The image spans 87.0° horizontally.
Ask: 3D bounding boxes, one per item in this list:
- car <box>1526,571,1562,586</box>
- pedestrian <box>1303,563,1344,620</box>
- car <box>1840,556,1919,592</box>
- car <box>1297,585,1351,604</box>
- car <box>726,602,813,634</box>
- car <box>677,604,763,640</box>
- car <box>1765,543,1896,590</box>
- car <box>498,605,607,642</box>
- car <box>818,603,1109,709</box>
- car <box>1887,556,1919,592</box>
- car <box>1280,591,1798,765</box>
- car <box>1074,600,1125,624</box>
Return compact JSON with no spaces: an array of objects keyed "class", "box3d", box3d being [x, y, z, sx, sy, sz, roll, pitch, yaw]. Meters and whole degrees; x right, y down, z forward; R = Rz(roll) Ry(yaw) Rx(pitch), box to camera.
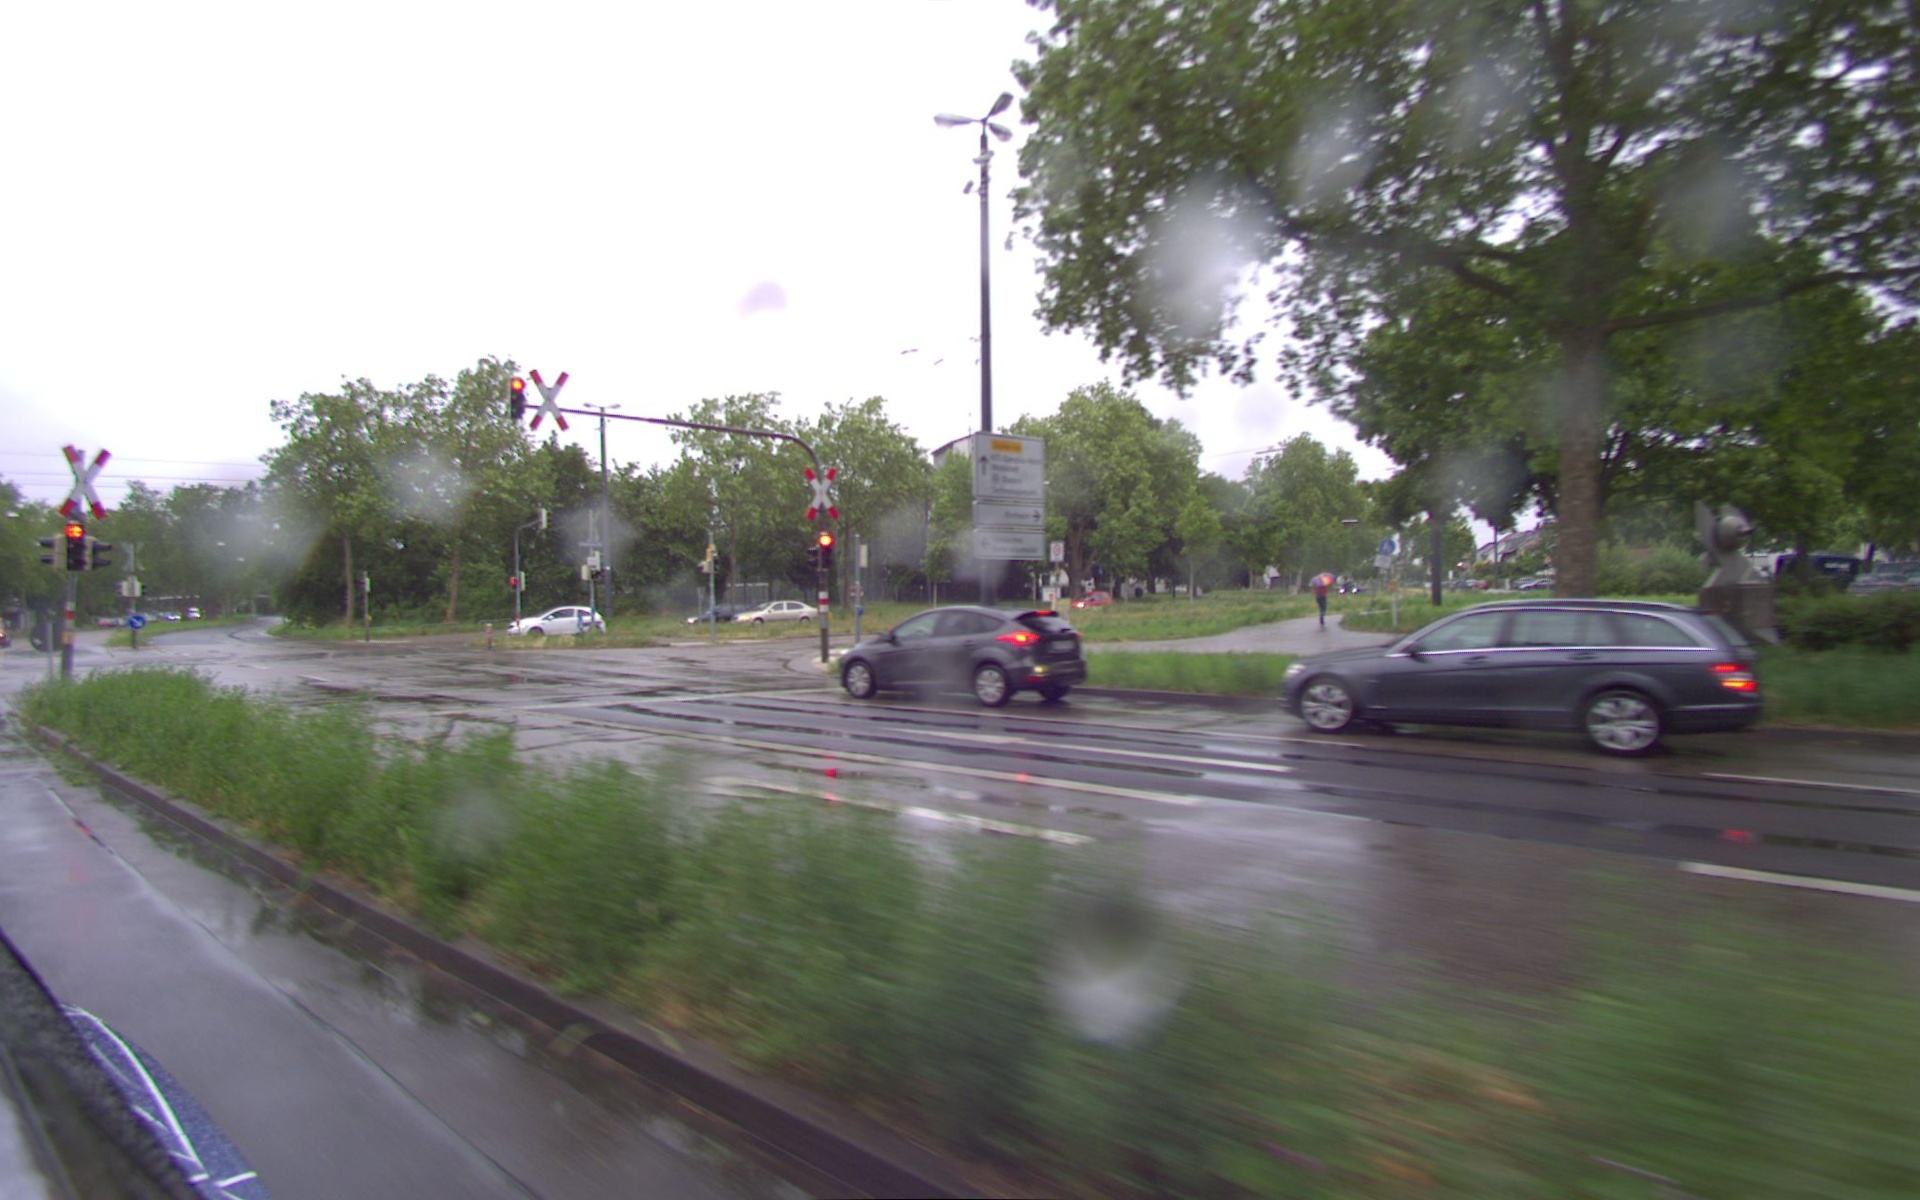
[{"class":"car","box3d":[79.127,-2.896,137.245,3.852,1.815,1.807,-3,-2,19]},{"class":"pedestrian","box3d":[13.182,-0.294,36.740,0.992,2.005,0.955,-2,-1,-41]},{"class":"car","box3d":[44.432,-1.261,47.822,4.768,1.542,1.761,-2,-1,-13]},{"class":"car","box3d":[31.535,-0.480,87.787,4.044,1.431,1.652,-3,-1,42]},{"class":"car","box3d":[-9.260,0.871,49.366,3.733,1.414,1.793,-2,-1,-37]},{"class":"car","box3d":[-12.146,1.123,51.268,3.749,1.630,1.876,-2,-1,-40]},{"class":"car","box3d":[43.070,-1.646,50.121,5.032,2.029,2.319,-2,-1,-13]},{"class":"car","box3d":[-17.395,0.989,43.262,3.933,1.373,1.793,-2,-1,-37]},{"class":"car","box3d":[-0.029,0.777,15.573,4.307,1.412,1.782,-1,-1,37]},{"class":"car","box3d":[44.851,-1.270,45.403,4.936,1.584,2.066,-2,-1,-9]},{"class":"car","box3d":[5.842,0.632,10.566,4.457,1.417,1.781,1,1,41]},{"class":"car","box3d":[9.005,0.779,65.022,1.784,1.391,3.822,-3,-1,32]}]
